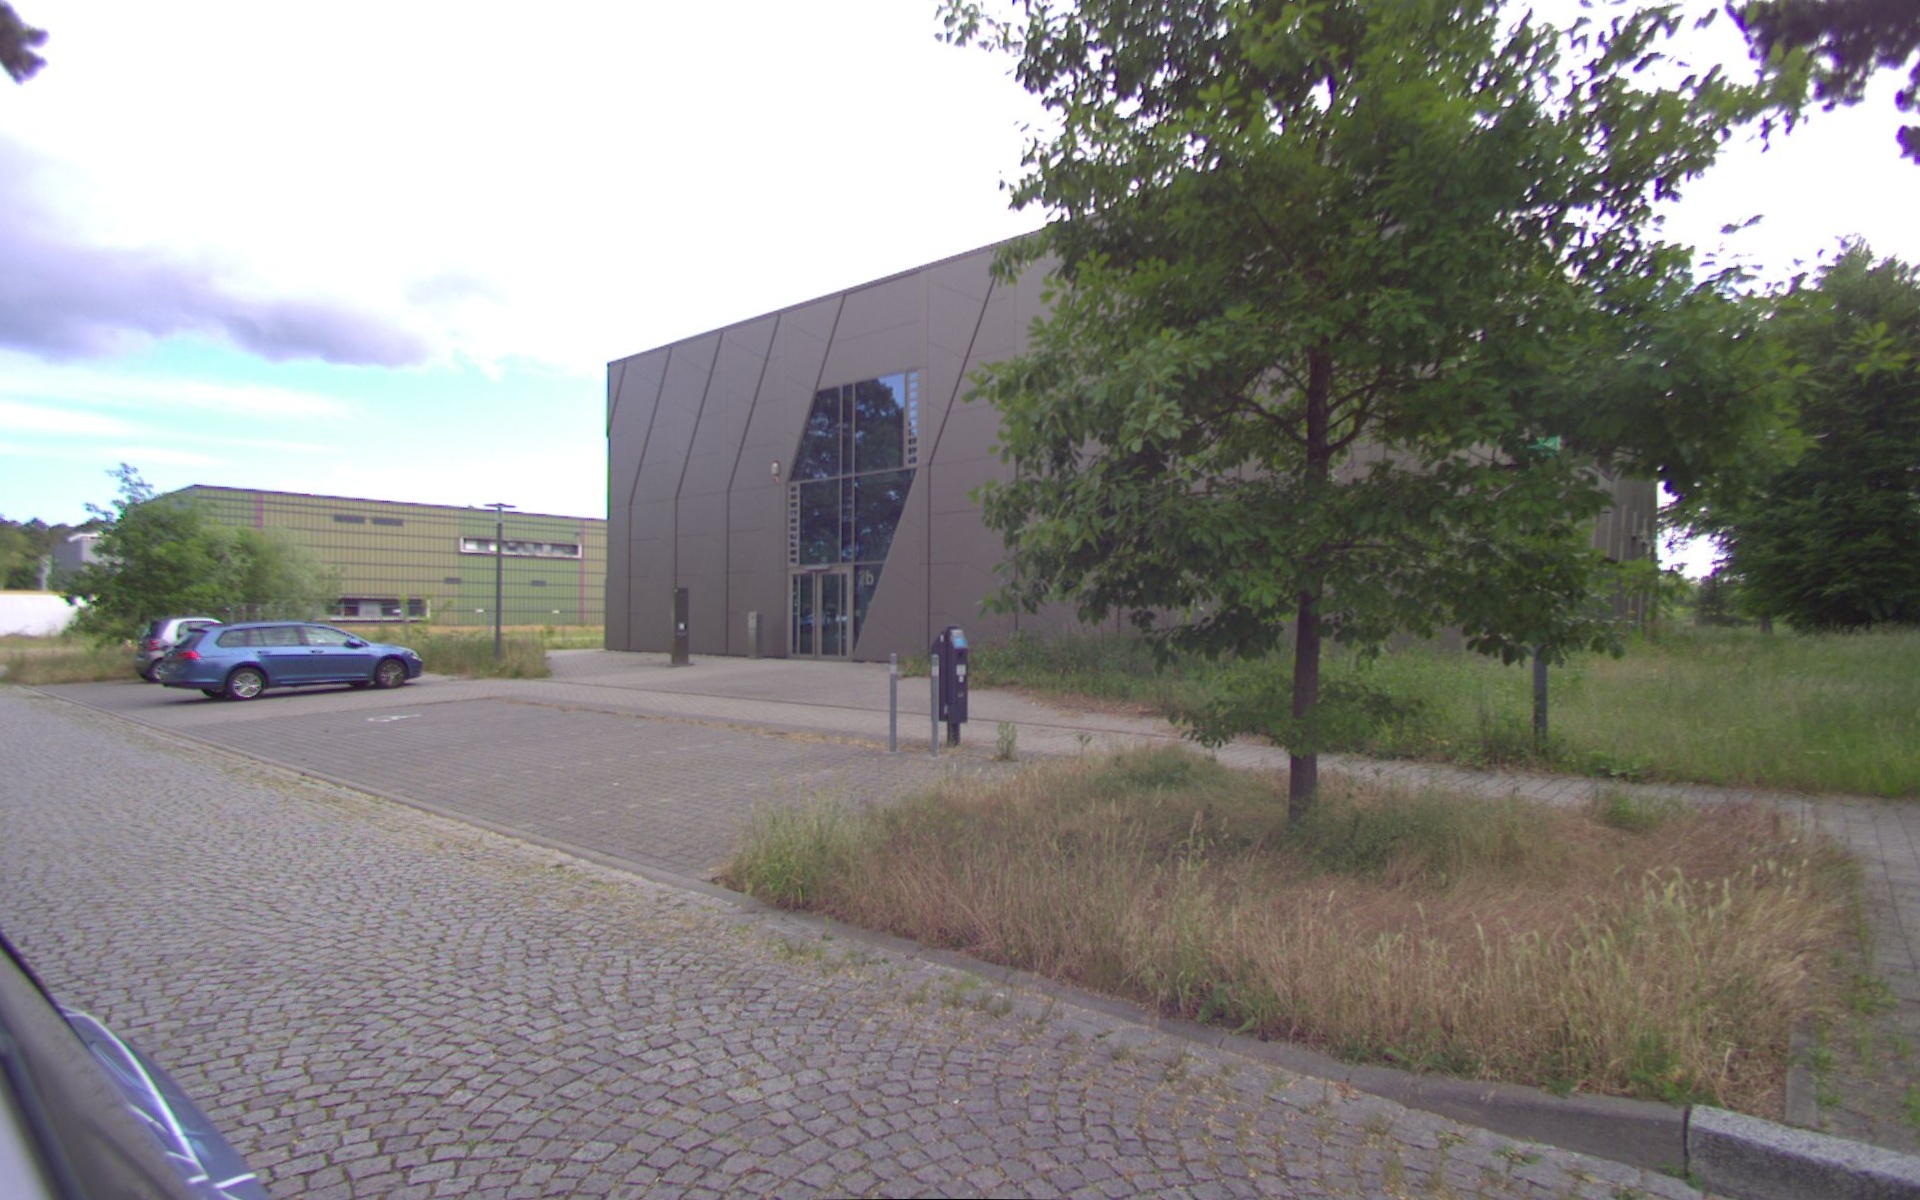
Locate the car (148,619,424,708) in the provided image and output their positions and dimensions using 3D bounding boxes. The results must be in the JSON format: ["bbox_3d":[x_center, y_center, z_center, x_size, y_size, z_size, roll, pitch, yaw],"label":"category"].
[{"bbox_3d":[-13.495,1.188,20.510,1.631,1.480,4.373,-1,1,38],"label":"car"}]

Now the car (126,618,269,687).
[{"bbox_3d":[-19.055,1.263,25.341,1.498,1.541,2.553,-1,0,39],"label":"car"}]
